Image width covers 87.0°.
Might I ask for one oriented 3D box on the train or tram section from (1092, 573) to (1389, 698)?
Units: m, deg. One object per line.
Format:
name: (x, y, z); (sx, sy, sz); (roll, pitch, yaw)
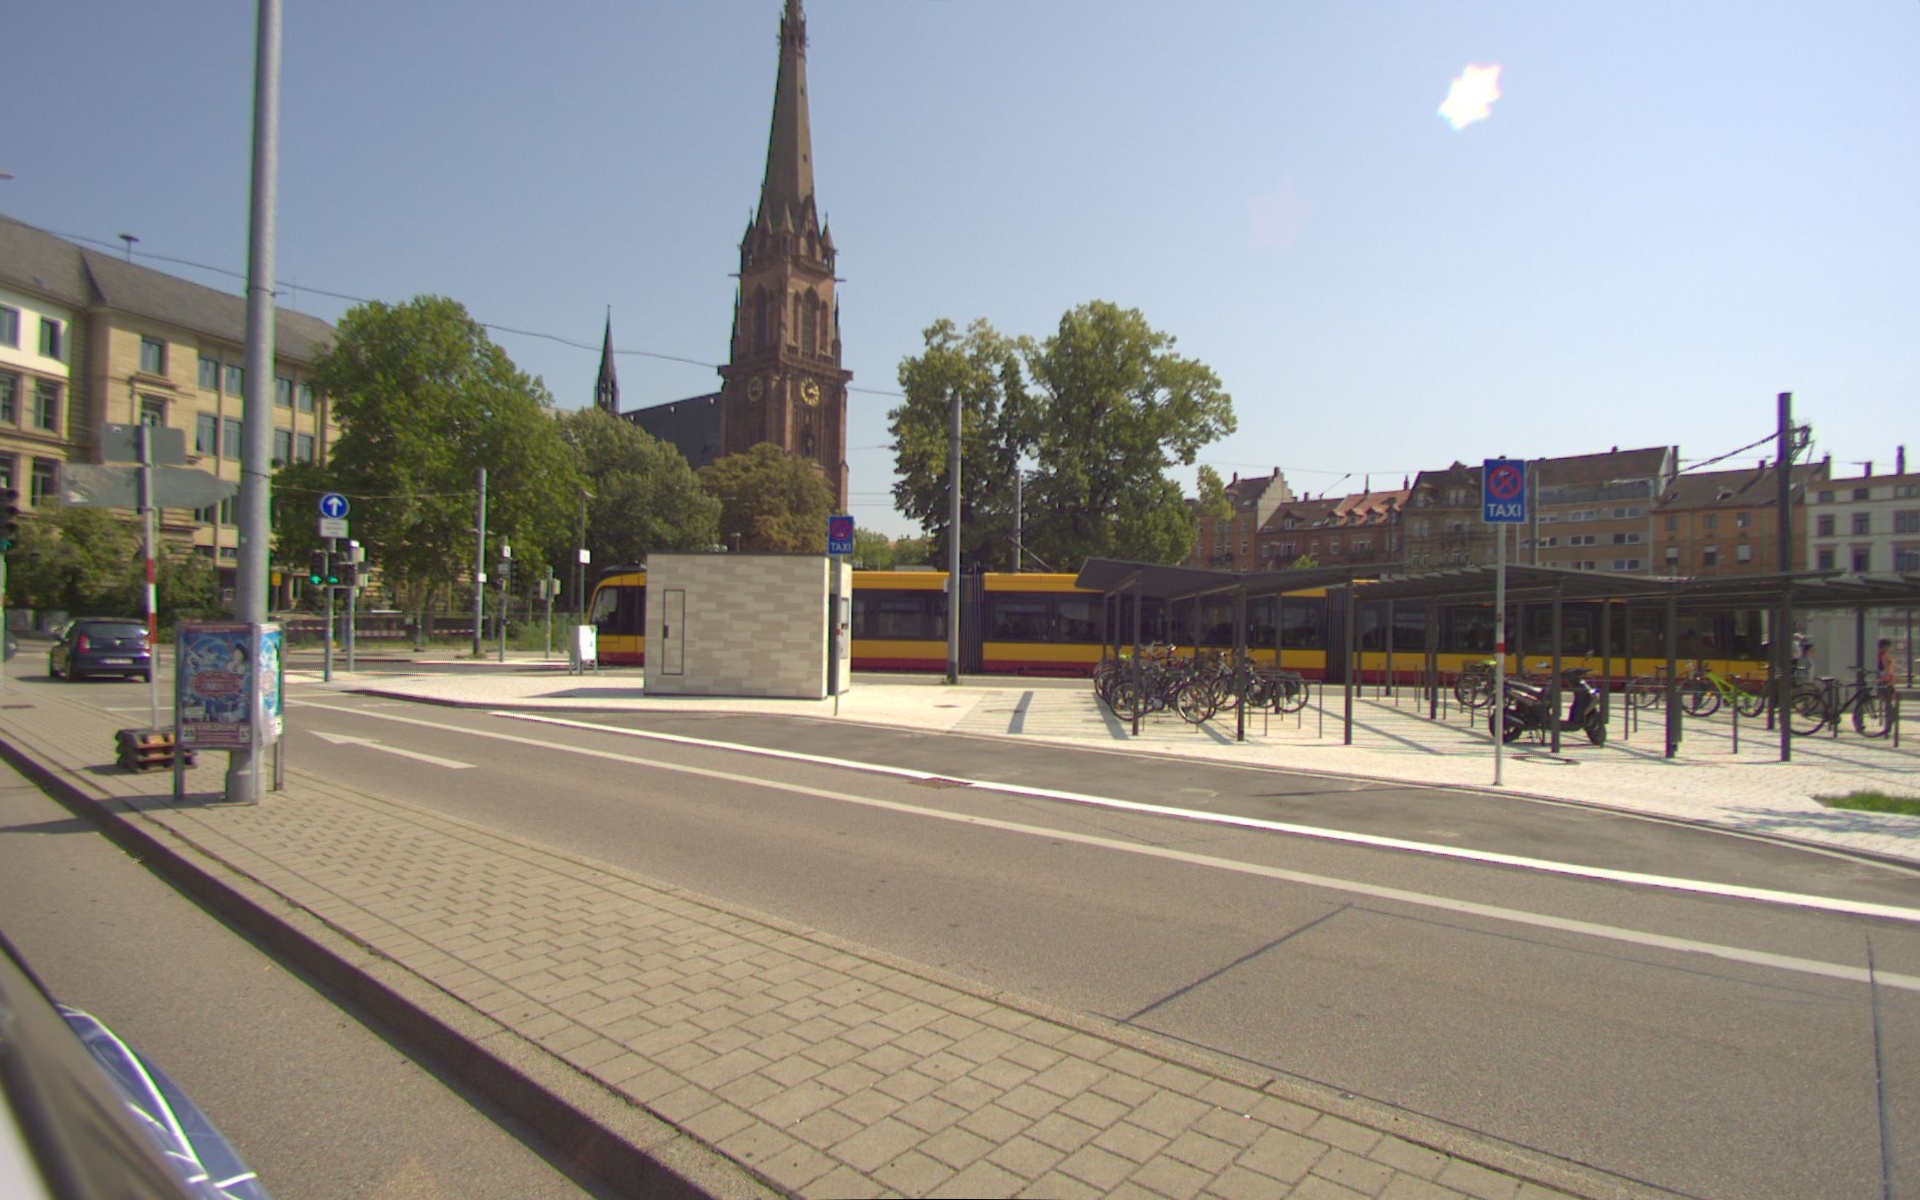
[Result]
train or tram section: (8.418, 1.097, 31.466); (8.421, 3.625, 3.156); (0, -3, 6)

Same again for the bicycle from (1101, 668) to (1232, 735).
bicycle: (3.058, 1.499, 15.107); (1.877, 0.890, 0.490); (2, -2, 9)

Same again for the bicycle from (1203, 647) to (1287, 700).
bicycle: (5.886, 1.517, 20.957); (1.622, 1.048, 0.412); (0, -2, 9)

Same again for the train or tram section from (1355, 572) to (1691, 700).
train or tram section: (16.670, 1.089, 30.591); (8.144, 3.625, 3.156); (0, -3, 6)

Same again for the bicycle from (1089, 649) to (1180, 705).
bicycle: (3.463, 1.520, 20.154); (1.749, 1.048, 0.525); (0, -2, 8)

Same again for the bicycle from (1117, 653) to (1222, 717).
bicycle: (3.659, 1.479, 17.767); (1.749, 1.048, 0.525); (0, -2, 8)

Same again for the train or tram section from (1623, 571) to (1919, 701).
train or tram section: (24.751, 1.077, 29.753); (8.141, 3.597, 3.139); (0, -3, 6)

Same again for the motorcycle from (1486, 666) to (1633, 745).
motorcycle: (8.705, 1.521, 14.743); (1.759, 1.077, 0.490); (0, -2, 9)

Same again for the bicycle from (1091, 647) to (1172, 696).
bicycle: (3.822, 1.587, 22.613); (1.749, 1.048, 0.525); (0, -2, 8)

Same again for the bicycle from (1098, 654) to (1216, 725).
bicycle: (3.175, 1.433, 16.408); (1.843, 1.090, 0.525); (0, -2, 8)

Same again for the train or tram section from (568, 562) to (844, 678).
train or tram section: (-8.185, 0.688, 33.253); (8.225, 3.588, 3.132); (0, -3, 6)

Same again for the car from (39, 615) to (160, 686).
car: (-19.996, 1.147, 23.486); (3.584, 1.509, 1.564); (-1, -4, 41)

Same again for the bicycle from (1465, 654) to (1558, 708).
bicycle: (11.251, 1.649, 20.672); (1.622, 1.048, 0.412); (0, -2, 9)

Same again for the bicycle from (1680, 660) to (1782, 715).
bicycle: (15.183, 1.724, 19.936); (1.708, 1.048, 0.514); (1, -2, -7)

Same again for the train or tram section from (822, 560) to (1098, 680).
train or tram section: (0.097, 0.676, 32.377); (8.421, 3.625, 3.156); (0, -3, 6)

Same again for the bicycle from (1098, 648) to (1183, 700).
bicycle: (3.830, 1.563, 21.528); (1.749, 1.048, 0.525); (0, -2, 8)

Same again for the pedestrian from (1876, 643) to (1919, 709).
pedestrian: (20.623, 1.657, 22.138); (0.737, 1.421, 0.442); (0, -2, 10)

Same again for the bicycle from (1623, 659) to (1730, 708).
bicycle: (15.270, 1.770, 21.599); (1.833, 0.993, 0.513); (1, -2, 5)

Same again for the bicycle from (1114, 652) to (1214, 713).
bicycle: (3.705, 1.497, 18.471); (1.749, 1.048, 0.525); (0, -2, 8)

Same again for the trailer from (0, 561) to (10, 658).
trailer: (-35.740, 0.292, 35.222); (5.067, 3.313, 2.418); (0, -2, 29)

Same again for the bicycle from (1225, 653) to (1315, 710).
bicycle: (6.033, 1.580, 19.747); (1.622, 1.048, 0.412); (0, -2, 9)

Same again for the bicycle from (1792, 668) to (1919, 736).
bicycle: (14.651, 1.659, 16.518); (1.710, 1.048, 0.513); (1, -2, -1)

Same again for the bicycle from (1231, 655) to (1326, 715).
bicycle: (5.850, 1.550, 18.647); (1.622, 1.048, 0.412); (0, -2, 9)

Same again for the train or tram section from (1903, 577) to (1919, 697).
train or tram section: (32.807, 1.039, 28.934); (8.141, 3.597, 3.139); (0, -3, 6)

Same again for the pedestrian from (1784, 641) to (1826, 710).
pedestrian: (18.039, 1.595, 21.617); (0.667, 1.421, 0.438); (-1, -2, 40)
